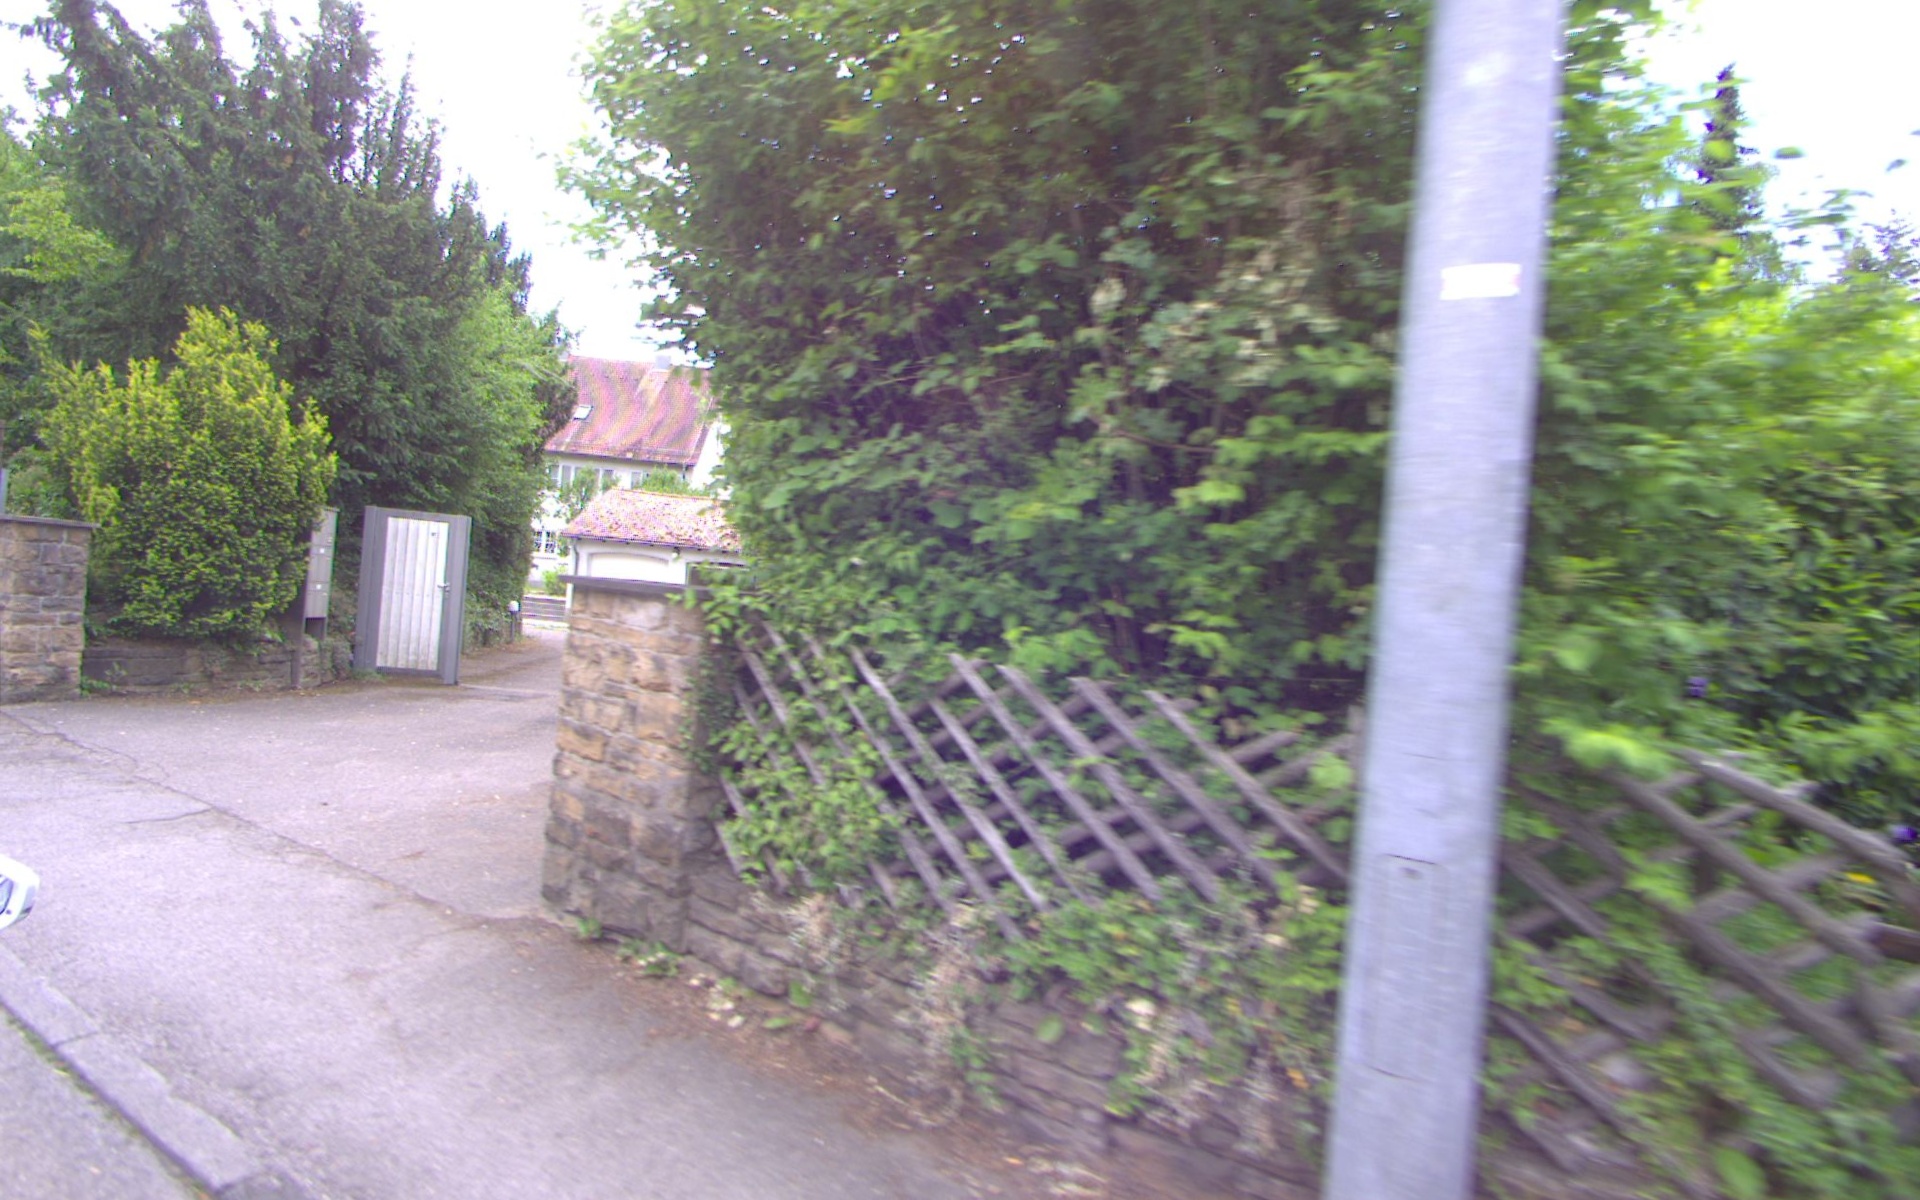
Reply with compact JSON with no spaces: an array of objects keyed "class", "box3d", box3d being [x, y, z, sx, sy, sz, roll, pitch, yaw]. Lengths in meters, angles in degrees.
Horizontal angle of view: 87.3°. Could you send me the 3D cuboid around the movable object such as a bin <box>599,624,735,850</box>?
[{"class":"movable object such as a bin","box3d":[-1.532,0.703,5.331,0.500,1.075,0.539,6,1,-6]}]
